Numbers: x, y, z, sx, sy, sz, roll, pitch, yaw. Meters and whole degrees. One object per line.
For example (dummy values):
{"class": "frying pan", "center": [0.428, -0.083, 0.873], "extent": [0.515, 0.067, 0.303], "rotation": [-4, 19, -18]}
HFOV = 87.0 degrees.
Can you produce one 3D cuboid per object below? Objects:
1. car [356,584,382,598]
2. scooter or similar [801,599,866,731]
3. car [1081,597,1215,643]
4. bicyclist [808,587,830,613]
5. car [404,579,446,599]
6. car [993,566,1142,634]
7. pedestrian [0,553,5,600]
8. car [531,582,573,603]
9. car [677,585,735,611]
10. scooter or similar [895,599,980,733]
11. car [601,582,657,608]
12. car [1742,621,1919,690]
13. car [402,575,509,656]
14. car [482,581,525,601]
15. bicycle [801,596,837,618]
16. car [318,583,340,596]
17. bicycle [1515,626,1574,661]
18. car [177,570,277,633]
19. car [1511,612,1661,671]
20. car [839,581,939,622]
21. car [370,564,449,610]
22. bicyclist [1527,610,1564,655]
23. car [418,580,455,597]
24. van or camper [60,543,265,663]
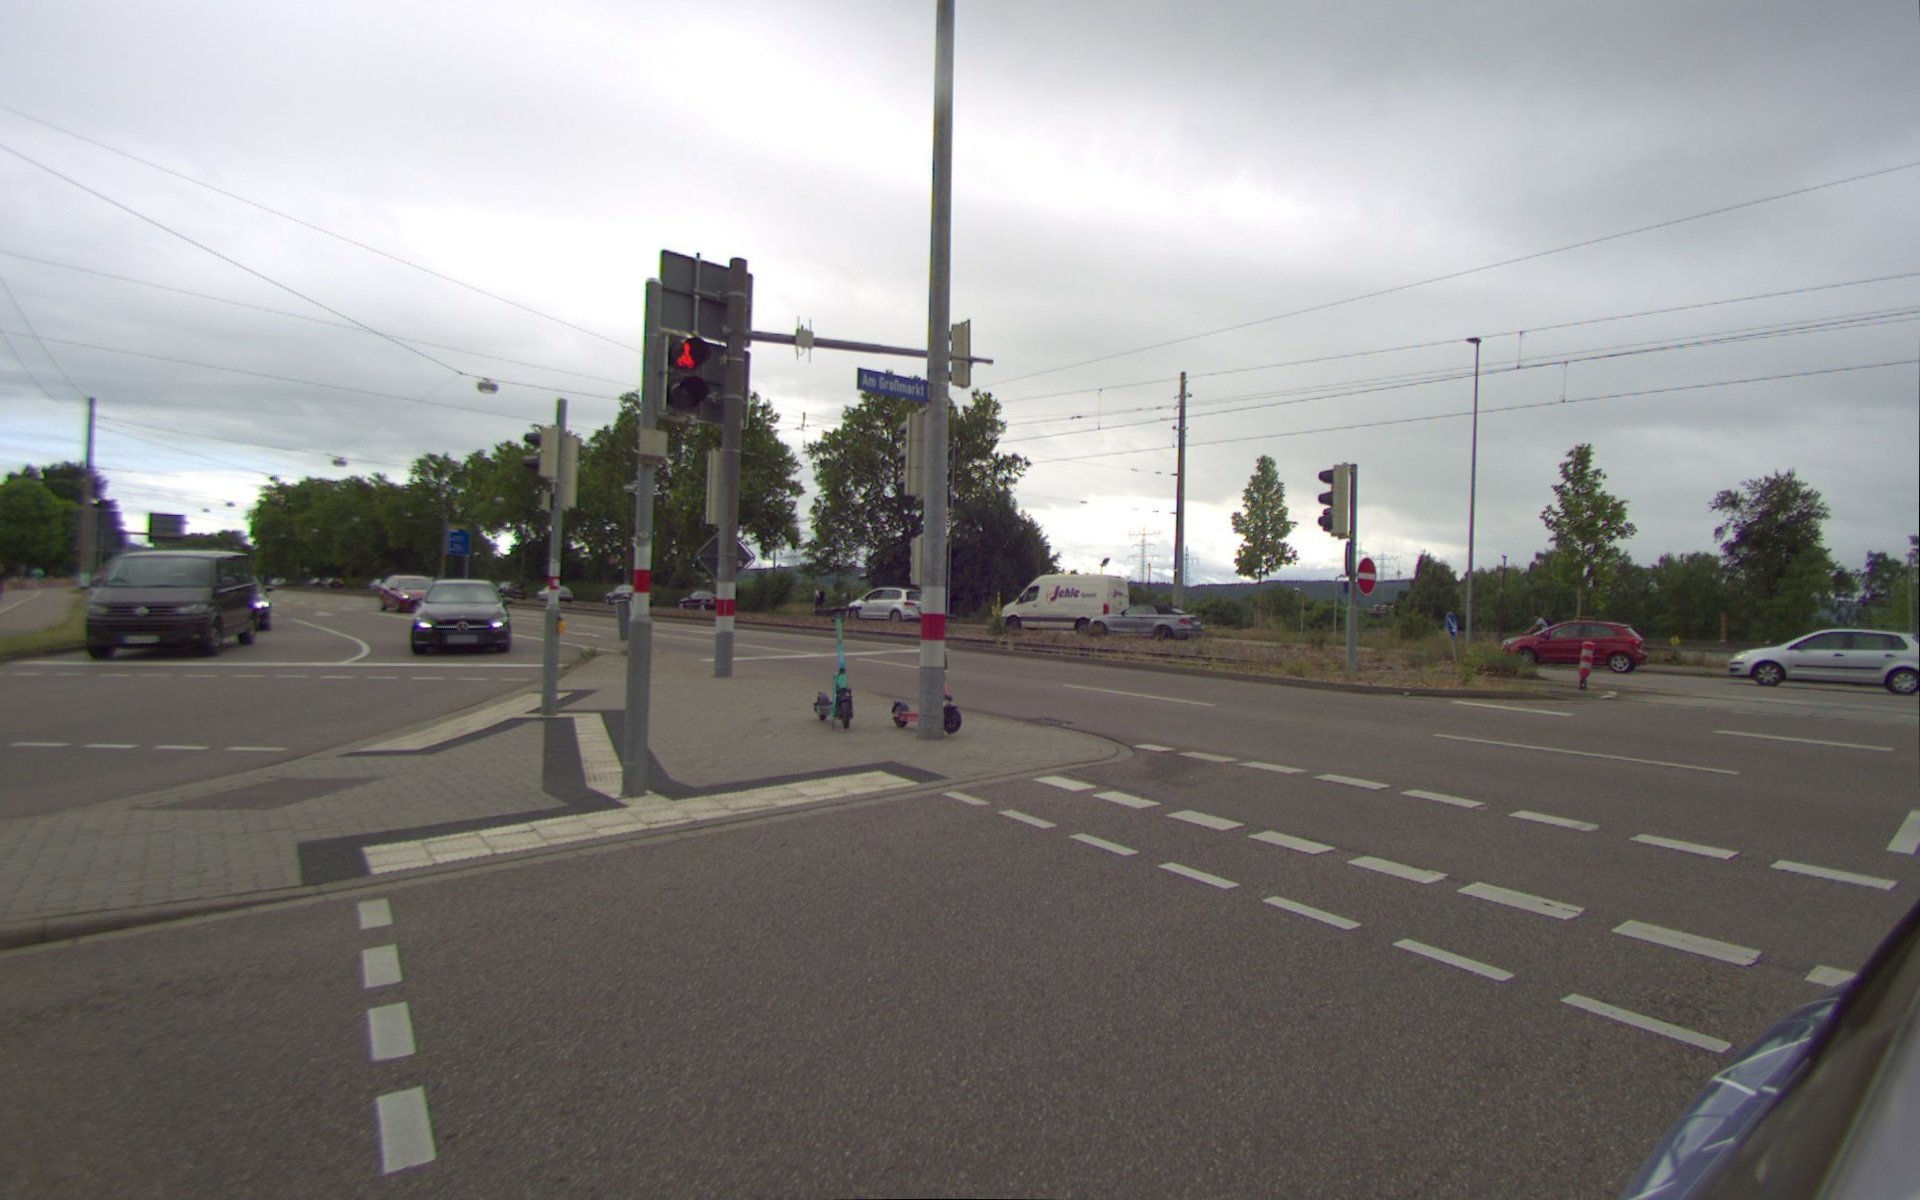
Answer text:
{"class": "car", "center": [-69.888, -1.047, 119.680], "extent": [1.790, 1.500, 3.662], "rotation": [4, -3, -44]}
{"class": "scooter or similar", "center": [-1.329, 0.640, 10.526], "extent": [0.314, 1.271, 1.117], "rotation": [-1, 1, -27]}
{"class": "car", "center": [6.669, 0.693, 36.126], "extent": [4.322, 1.408, 1.850], "rotation": [2, -1, 39]}
{"class": "bicyclist", "center": [-8.434, 0.022, 60.609], "extent": [0.805, 1.497, 0.998], "rotation": [1, 1, -45]}
{"class": "car", "center": [-48.422, -0.968, 91.569], "extent": [4.299, 1.657, 1.810], "rotation": [2, -1, 41]}
{"class": "car", "center": [4.618, -0.015, 43.893], "extent": [5.869, 2.659, 2.627], "rotation": [2, -2, 38]}
{"class": "pedestrian", "center": [-37.144, -0.914, 38.913], "extent": [0.537, 1.805, 0.633], "rotation": [5, -3, -44]}
{"class": "car", "center": [-33.092, -0.591, 81.998], "extent": [3.619, 1.528, 1.707], "rotation": [2, -2, 42]}
{"class": "car", "center": [-16.058, -0.097, 63.831], "extent": [1.710, 1.498, 4.310], "rotation": [4, -3, -42]}
{"class": "scooter or similar", "center": [-0.240, 0.634, 10.199], "extent": [0.455, 1.272, 1.020], "rotation": [0, -1, -27]}
{"class": "car", "center": [-20.576, -0.326, 62.759], "extent": [1.714, 1.419, 4.068], "rotation": [4, -1, -43]}
{"class": "car", "center": [21.094, 1.315, 24.131], "extent": [3.832, 1.437, 1.658], "rotation": [2, -2, 40]}
{"class": "car", "center": [-10.484, 0.287, 20.980], "extent": [1.800, 1.482, 4.213], "rotation": [1, 0, -28]}
{"class": "car", "center": [-40.129, -0.777, 88.894], "extent": [4.301, 1.582, 1.833], "rotation": [1, -4, 43]}
{"class": "bicycle", "center": [-8.457, 0.397, 60.670], "extent": [0.805, 1.200, 2.516], "rotation": [1, 1, -44]}
{"class": "car", "center": [-83.945, -1.387, 134.521], "extent": [1.723, 1.449, 3.366], "rotation": [5, -2, -45]}
{"class": "bicycle", "center": [20.383, 1.506, 35.306], "extent": [1.702, 1.058, 0.541], "rotation": [3, 2, 41]}
{"class": "car", "center": [-19.040, -0.002, 26.408], "extent": [1.931, 1.482, 4.322], "rotation": [2, 0, -35]}
{"class": "car", "center": [19.126, 1.239, 30.993], "extent": [3.751, 1.581, 1.633], "rotation": [2, -2, 38]}
{"class": "car", "center": [-3.087, 0.058, 43.627], "extent": [4.181, 1.572, 1.834], "rotation": [2, -2, 39]}
{"class": "car", "center": [-22.393, -0.518, 41.084], "extent": [1.965, 1.750, 3.993], "rotation": [1, 0, -41]}
{"class": "bicyclist", "center": [20.359, 1.115, 35.189], "extent": [0.964, 1.471, 0.682], "rotation": [2, 2, 41]}
{"class": "car", "center": [-53.729, -1.209, 103.782], "extent": [4.298, 1.582, 1.835], "rotation": [1, -3, 41]}
{"class": "van or camper", "center": [-15.389, -0.040, 19.867], "extent": [2.080, 2.038, 4.762], "rotation": [-1, 2, -25]}
